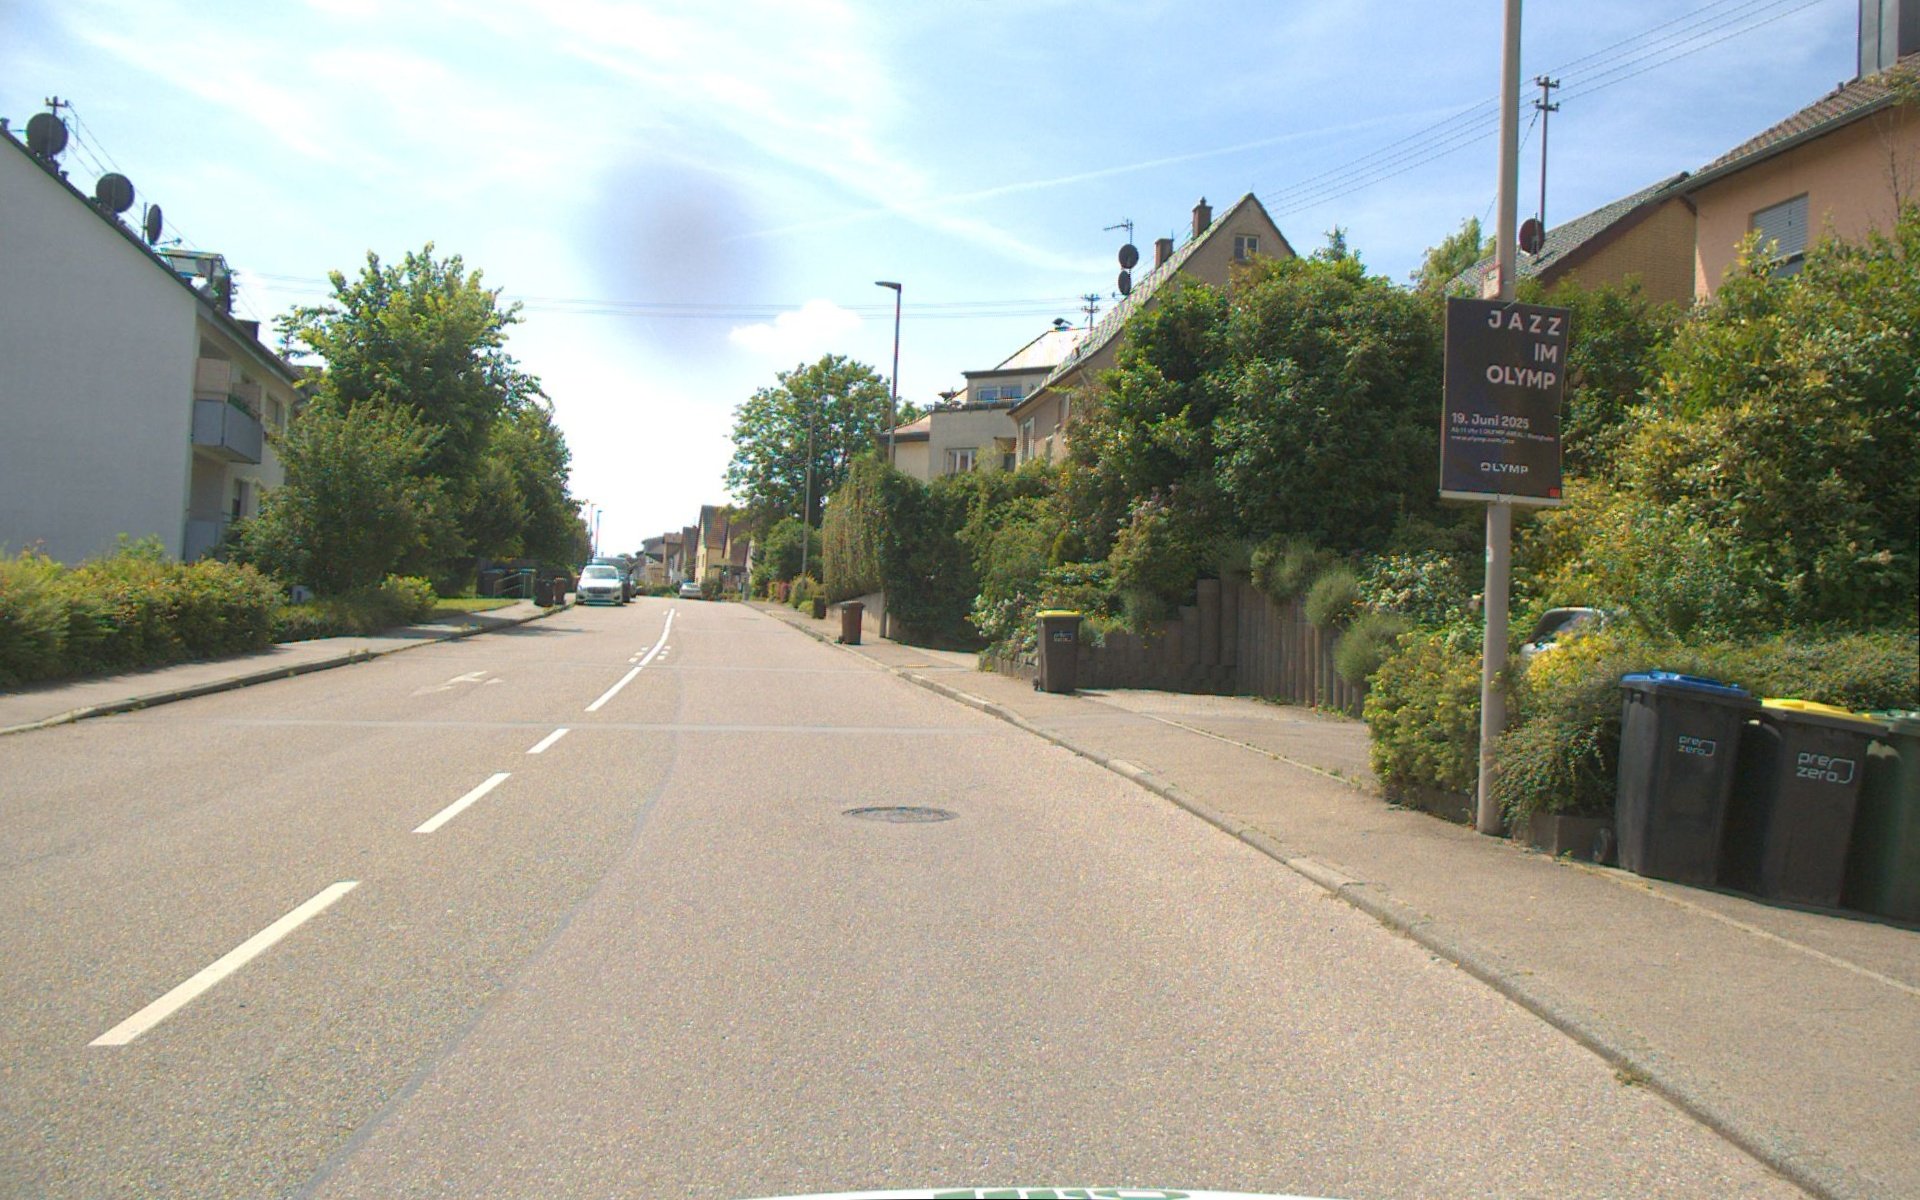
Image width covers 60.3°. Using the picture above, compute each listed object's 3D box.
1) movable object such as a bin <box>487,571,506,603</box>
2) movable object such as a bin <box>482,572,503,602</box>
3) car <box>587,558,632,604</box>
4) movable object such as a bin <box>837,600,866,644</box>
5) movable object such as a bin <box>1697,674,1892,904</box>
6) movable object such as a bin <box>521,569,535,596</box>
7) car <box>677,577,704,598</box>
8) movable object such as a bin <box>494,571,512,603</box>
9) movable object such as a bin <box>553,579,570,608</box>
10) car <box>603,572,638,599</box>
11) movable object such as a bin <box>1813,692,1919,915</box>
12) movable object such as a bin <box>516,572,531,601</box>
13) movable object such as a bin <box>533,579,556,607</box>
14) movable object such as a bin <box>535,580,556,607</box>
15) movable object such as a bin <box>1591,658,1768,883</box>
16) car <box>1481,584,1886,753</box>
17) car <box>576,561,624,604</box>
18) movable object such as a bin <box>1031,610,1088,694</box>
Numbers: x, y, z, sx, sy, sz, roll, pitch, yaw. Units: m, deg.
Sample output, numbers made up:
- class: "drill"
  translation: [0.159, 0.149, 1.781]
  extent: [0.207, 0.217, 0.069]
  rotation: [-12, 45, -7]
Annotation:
- class: "movable object such as a bin"
  translation: [-17.822, -0.512, 63.551]
  extent: [0.536, 1.198, 0.673]
  rotation: [2, 0, -5]
- class: "movable object such as a bin"
  translation: [-17.742, -0.478, 62.825]
  extent: [0.591, 1.115, 0.649]
  rotation: [2, 0, -4]
- class: "car"
  translation: [-15.747, -0.857, 74.215]
  extent: [1.863, 1.953, 4.855]
  rotation: [1, 1, -12]
- class: "movable object such as a bin"
  translation: [-2.538, 0.516, 38.696]
  extent: [0.577, 0.995, 0.784]
  rotation: [0, 0, -10]
- class: "movable object such as a bin"
  translation: [4.477, 0.991, 8.918]
  extent: [0.539, 1.086, 0.768]
  rotation: [7, 0, -1]
- class: "movable object such as a bin"
  translation: [-16.953, -0.680, 64.902]
  extent: [0.447, 1.062, 0.560]
  rotation: [1, -1, -4]
- class: "car"
  translation: [-21.831, -1.030, 133.651]
  extent: [1.958, 1.631, 3.989]
  rotation: [2, 0, -11]
- class: "movable object such as a bin"
  translation: [-17.804, -0.507, 64.406]
  extent: [0.467, 1.198, 0.839]
  rotation: [2, 0, -5]
- class: "movable object such as a bin"
  translation: [-14.257, -0.223, 59.185]
  extent: [0.496, 1.005, 0.563]
  rotation: [2, 0, -4]
- class: "car"
  translation: [-18.646, -0.771, 90.941]
  extent: [1.748, 1.419, 4.398]
  rotation: [2, 0, -10]
- class: "movable object such as a bin"
  translation: [5.061, 1.087, 8.825]
  extent: [0.539, 1.086, 0.673]
  rotation: [7, 0, -1]
- class: "movable object such as a bin"
  translation: [-16.948, -0.523, 64.185]
  extent: [0.507, 1.123, 0.528]
  rotation: [2, 0, -11]
- class: "movable object such as a bin"
  translation: [-14.157, -0.237, 56.363]
  extent: [0.607, 0.933, 0.685]
  rotation: [2, 0, -4]
- class: "movable object such as a bin"
  translation: [-14.433, -0.233, 57.626]
  extent: [0.552, 0.933, 0.642]
  rotation: [2, 0, -4]
- class: "movable object such as a bin"
  translation: [3.887, 0.904, 8.974]
  extent: [0.539, 1.086, 0.658]
  rotation: [7, 0, -1]
- class: "car"
  translation: [7.744, 0.718, 17.840]
  extent: [3.580, 1.525, 1.831]
  rotation: [4, 0, -13]
- class: "car"
  translation: [-14.541, -0.728, 66.918]
  extent: [1.779, 1.576, 4.230]
  rotation: [3, 1, -12]
- class: "movable object such as a bin"
  translation: [1.339, 0.692, 22.372]
  extent: [0.577, 1.077, 0.918]
  rotation: [2, 0, -8]
